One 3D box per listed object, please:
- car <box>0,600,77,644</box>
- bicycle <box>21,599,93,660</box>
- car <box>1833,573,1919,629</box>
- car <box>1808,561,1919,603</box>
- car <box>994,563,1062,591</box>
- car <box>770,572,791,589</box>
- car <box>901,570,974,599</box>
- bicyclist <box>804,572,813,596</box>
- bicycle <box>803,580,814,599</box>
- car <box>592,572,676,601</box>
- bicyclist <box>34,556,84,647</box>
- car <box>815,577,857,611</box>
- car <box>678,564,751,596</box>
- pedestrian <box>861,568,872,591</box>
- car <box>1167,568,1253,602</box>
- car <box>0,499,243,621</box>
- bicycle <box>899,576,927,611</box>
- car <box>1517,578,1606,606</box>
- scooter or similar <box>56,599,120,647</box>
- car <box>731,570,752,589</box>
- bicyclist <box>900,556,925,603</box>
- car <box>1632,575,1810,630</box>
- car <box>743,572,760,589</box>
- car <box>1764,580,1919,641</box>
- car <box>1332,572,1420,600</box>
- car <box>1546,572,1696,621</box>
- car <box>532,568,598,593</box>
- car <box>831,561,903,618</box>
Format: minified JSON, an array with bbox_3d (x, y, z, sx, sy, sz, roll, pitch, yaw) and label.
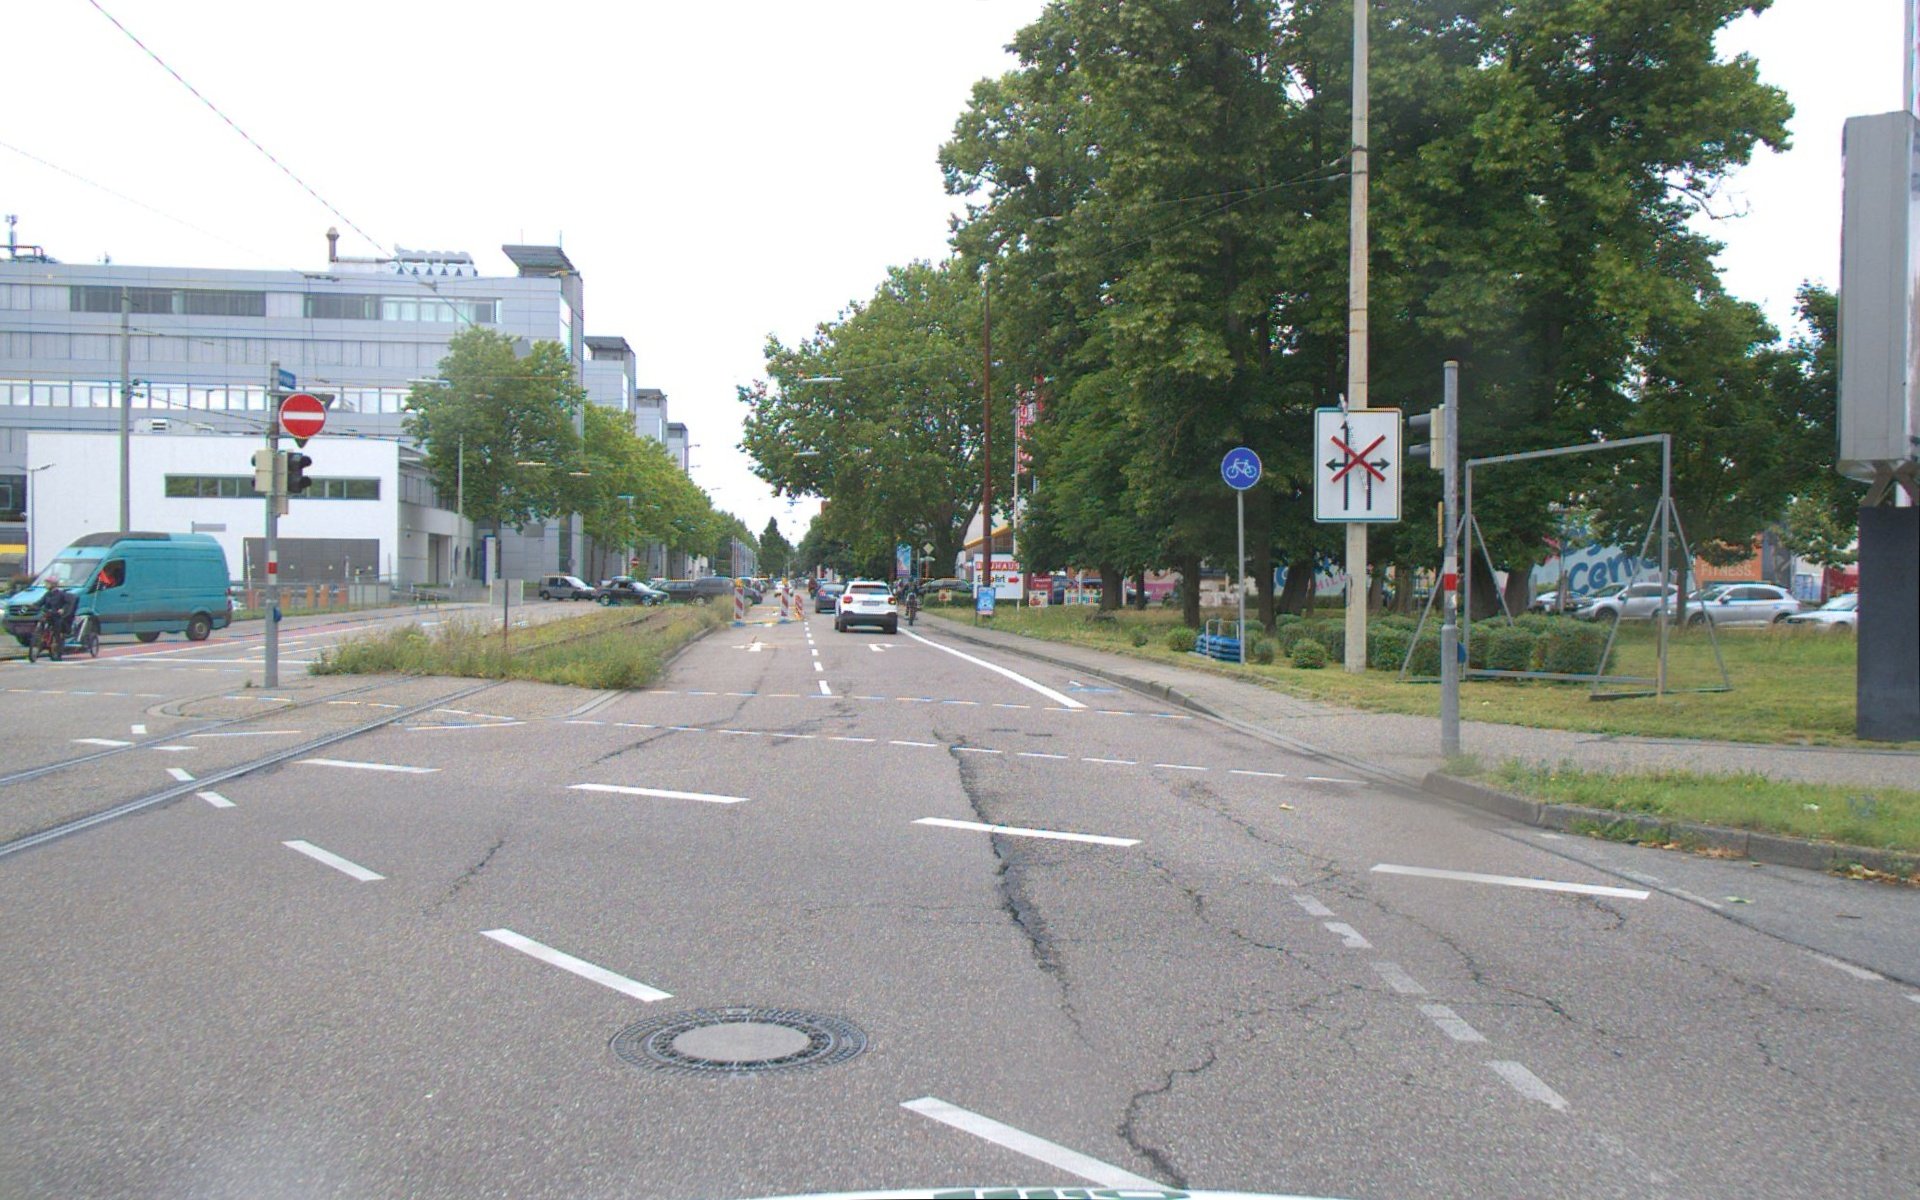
[{"bbox_3d":[-34.632,0.793,60.004,4.128,1.559,1.911,0,1,-5],"label":"car"},{"bbox_3d":[-17.524,0.553,32.148,0.634,1.081,2.018,2,1,-12],"label":"bicycle"},{"bbox_3d":[29.797,0.054,52.065,1.954,1.699,4.502,2,0,-4],"label":"car"},{"bbox_3d":[38.338,-0.756,69.483,4.472,1.706,2.150,0,1,-11],"label":"car"},{"bbox_3d":[4.120,-1.385,100.326,4.125,1.706,1.993,0,1,1],"label":"car"},{"bbox_3d":[-16.883,-1.838,155.825,1.762,1.540,3.699,2,1,-9],"label":"car"},{"bbox_3d":[-1.362,-0.946,99.146,4.230,1.706,1.990,0,1,-6],"label":"car"},{"bbox_3d":[-11.812,-1.268,128.864,0.658,1.847,0.758,2,1,-9],"label":"bicyclist"},{"bbox_3d":[-11.820,-0.810,128.858,0.658,1.418,2.163,2,1,-9],"label":"bicycle"},{"bbox_3d":[-17.667,-0.713,89.685,4.029,1.501,1.826,-1,-1,16],"label":"car"},{"bbox_3d":[-17.509,0.022,32.162,0.634,1.712,0.684,2,1,-12],"label":"bicyclist"},{"bbox_3d":[-5.955,-0.313,79.115,1.653,1.540,3.699,2,1,-9],"label":"car"},{"bbox_3d":[-13.426,-1.102,90.597,3.809,1.583,1.823,2,0,-7],"label":"car"},{"bbox_3d":[-7.051,-1.570,125.330,0.747,1.734,0.680,0,1,-11],"label":"pedestrian"},{"bbox_3d":[14.142,-0.865,93.726,4.465,1.821,2.071,0,1,-6],"label":"car"},{"bbox_3d":[-21.384,-0.984,42.275,2.279,2.875,5.952,0,1,17],"label":"car"},{"bbox_3d":[-1.697,-0.243,59.351,0.801,1.234,2.680,0,1,-6],"label":"bicycle"},{"bbox_3d":[35.077,-0.496,96.499,4.465,1.599,2.071,0,1,-6],"label":"car"},{"bbox_3d":[-17.845,0.463,33.858,0.829,0.923,1.194,2,1,-12],"label":"scooter or similar"},{"bbox_3d":[-19.159,-1.776,145.060,1.841,1.661,3.994,0,1,-7],"label":"car"},{"bbox_3d":[-1.699,-0.743,59.344,0.801,1.658,1.233,0,0,-6],"label":"bicyclist"},{"bbox_3d":[23.756,0.069,51.734,4.587,1.523,2.167,2,0,-8],"label":"car"},{"bbox_3d":[-22.579,-2.153,179.065,1.841,1.794,3.994,0,1,-7],"label":"car"},{"bbox_3d":[24.689,0.298,45.443,4.363,1.523,1.926,2,0,-11],"label":"car"},{"bbox_3d":[23.775,-0.806,94.601,4.465,1.599,2.071,0,1,-6],"label":"car"},{"bbox_3d":[22.894,-0.121,57.353,4.449,1.523,1.955,2,0,-11],"label":"car"},{"bbox_3d":[-28.423,-1.414,118.993,4.322,1.814,1.825,0,1,-2],"label":"car"},{"bbox_3d":[-2.881,-0.338,50.446,1.790,1.628,3.768,2,1,-9],"label":"car"}]
